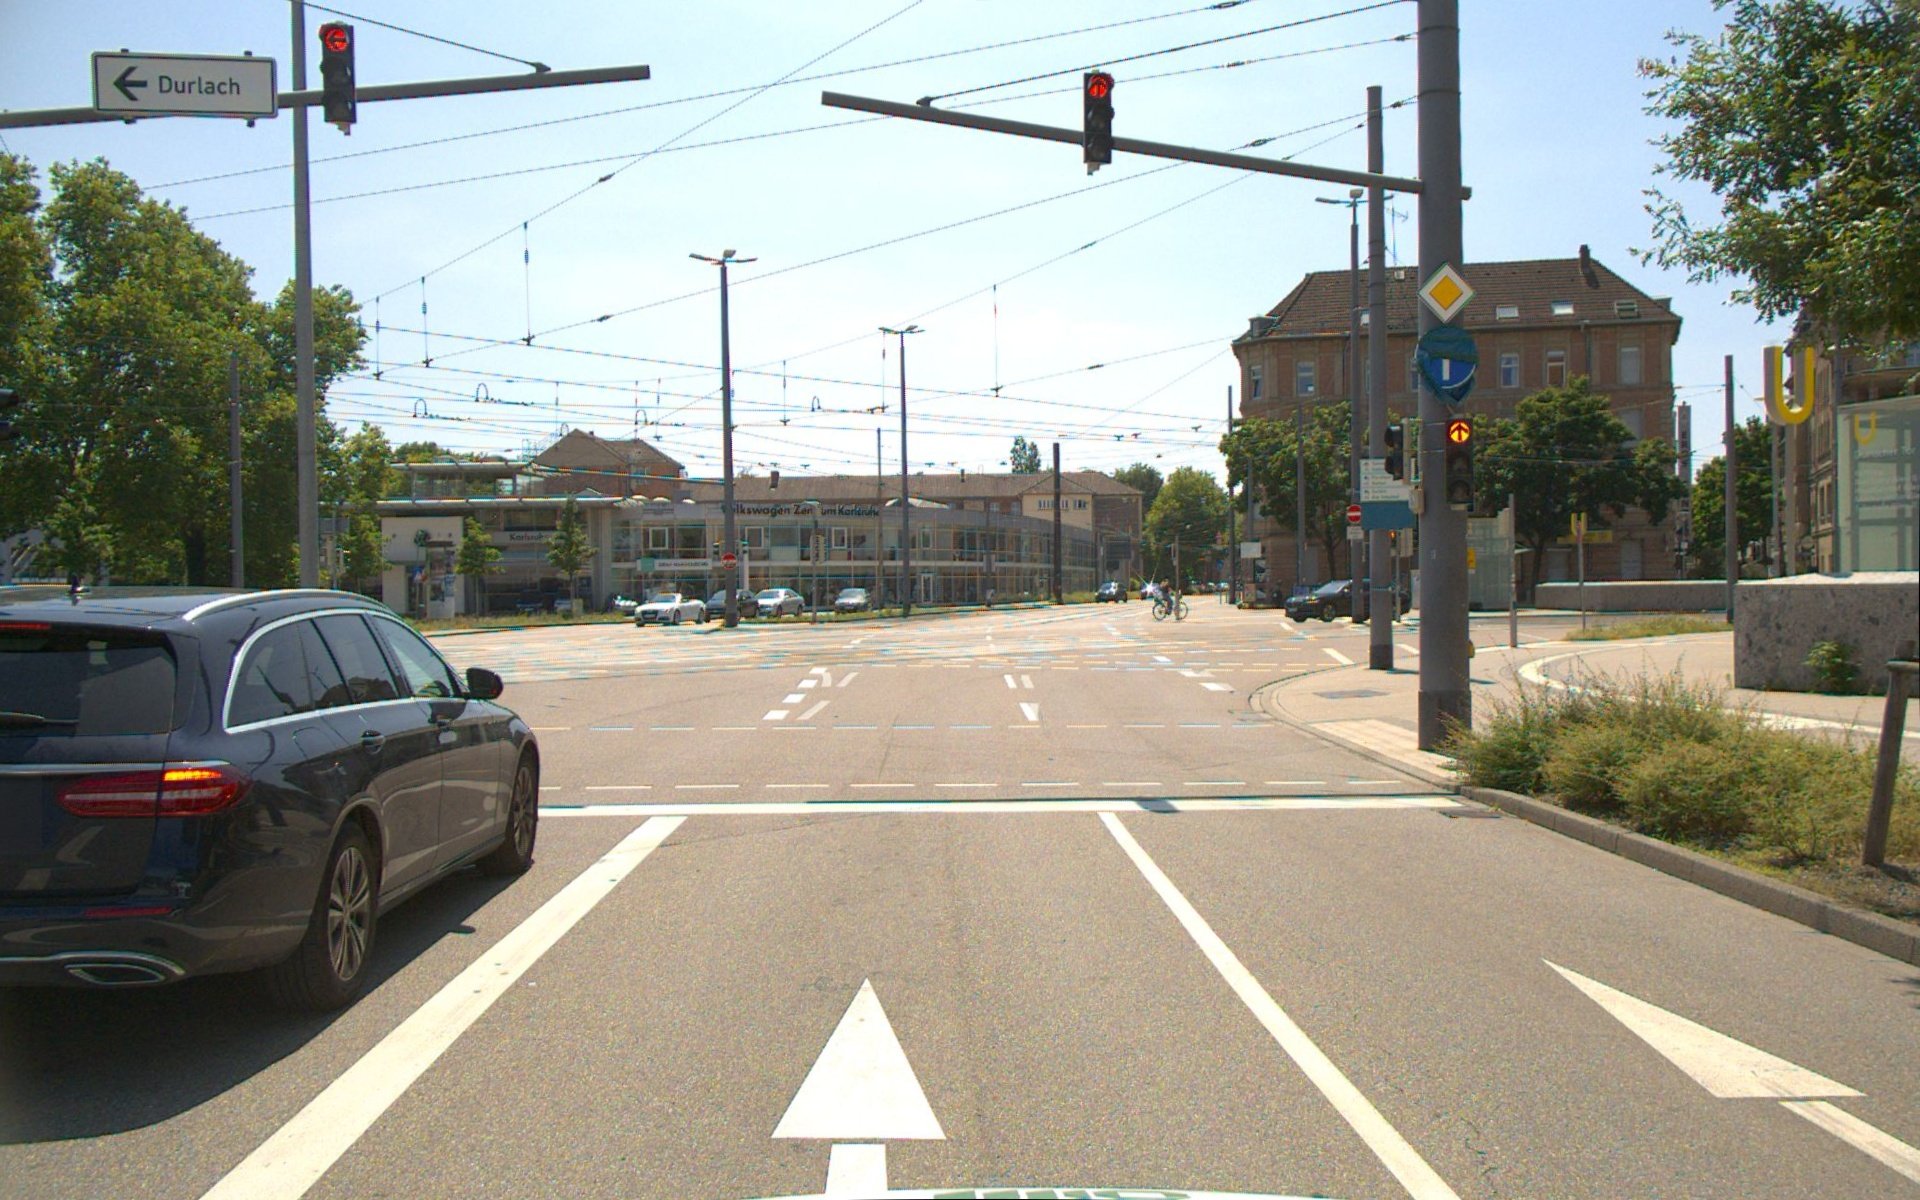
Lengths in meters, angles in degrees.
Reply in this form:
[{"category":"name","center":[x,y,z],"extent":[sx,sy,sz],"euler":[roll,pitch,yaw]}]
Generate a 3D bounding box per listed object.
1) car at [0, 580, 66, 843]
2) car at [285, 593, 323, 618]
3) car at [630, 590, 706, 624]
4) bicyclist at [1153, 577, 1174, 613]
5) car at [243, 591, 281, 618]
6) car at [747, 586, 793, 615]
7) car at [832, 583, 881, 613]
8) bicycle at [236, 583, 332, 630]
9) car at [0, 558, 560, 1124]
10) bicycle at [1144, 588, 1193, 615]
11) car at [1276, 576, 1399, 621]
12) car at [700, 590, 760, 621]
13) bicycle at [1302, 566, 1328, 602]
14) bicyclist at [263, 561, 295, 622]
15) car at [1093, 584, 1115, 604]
[{"category":"car","center":[-6.187,0.640,8.062],"extent":[1.588,1.489,3.998],"euler":[0,0,-2]},{"category":"car","center":[-42.177,0.319,106.345],"extent":[1.481,1.443,3.416],"euler":[0,2,-8]},{"category":"car","center":[-12.425,0.283,70.654],"extent":[1.585,1.414,4.127],"euler":[-1,0,15]},{"category":"bicyclist","center":[8.812,-0.229,71.607],"extent":[0.721,1.505,0.652],"euler":[-1,2,-21]},{"category":"car","center":[-44.905,0.270,106.490],"extent":[1.398,1.534,3.433],"euler":[0,2,-8]},{"category":"car","center":[-9.506,0.016,82.796],"extent":[1.401,1.308,3.265],"euler":[0,2,10]},{"category":"car","center":[-5.566,-0.138,89.189],"extent":[1.537,1.452,3.617],"euler":[1,2,15]},{"category":"bicycle","center":[-21.813,0.191,53.379],"extent":[2.770,1.488,0.633],"euler":[0,2,-4]},{"category":"car","center":[-2.996,0.676,6.931],"extent":[1.682,1.584,4.585],"euler":[-1,0,-2]},{"category":"bicycle","center":[9.030,0.046,71.680],"extent":[2.129,1.126,0.454],"euler":[-1,2,-20]},{"category":"car","center":[13.415,-0.064,58.767],"extent":[4.043,1.476,1.687],"euler":[-1,2,-22]},{"category":"car","center":[-10.661,0.229,76.742],"extent":[1.505,1.300,3.542],"euler":[1,2,15]},{"category":"bicycle","center":[18.751,-0.862,87.358],"extent":[0.599,1.819,3.181],"euler":[0,2,-2]},{"category":"bicyclist","center":[-21.964,-0.279,53.355],"extent":[0.748,1.971,0.659],"euler":[0,2,-4]},{"category":"car","center":[11.787,-0.482,135.040],"extent":[1.498,1.484,3.556],"euler":[0,2,9]}]
